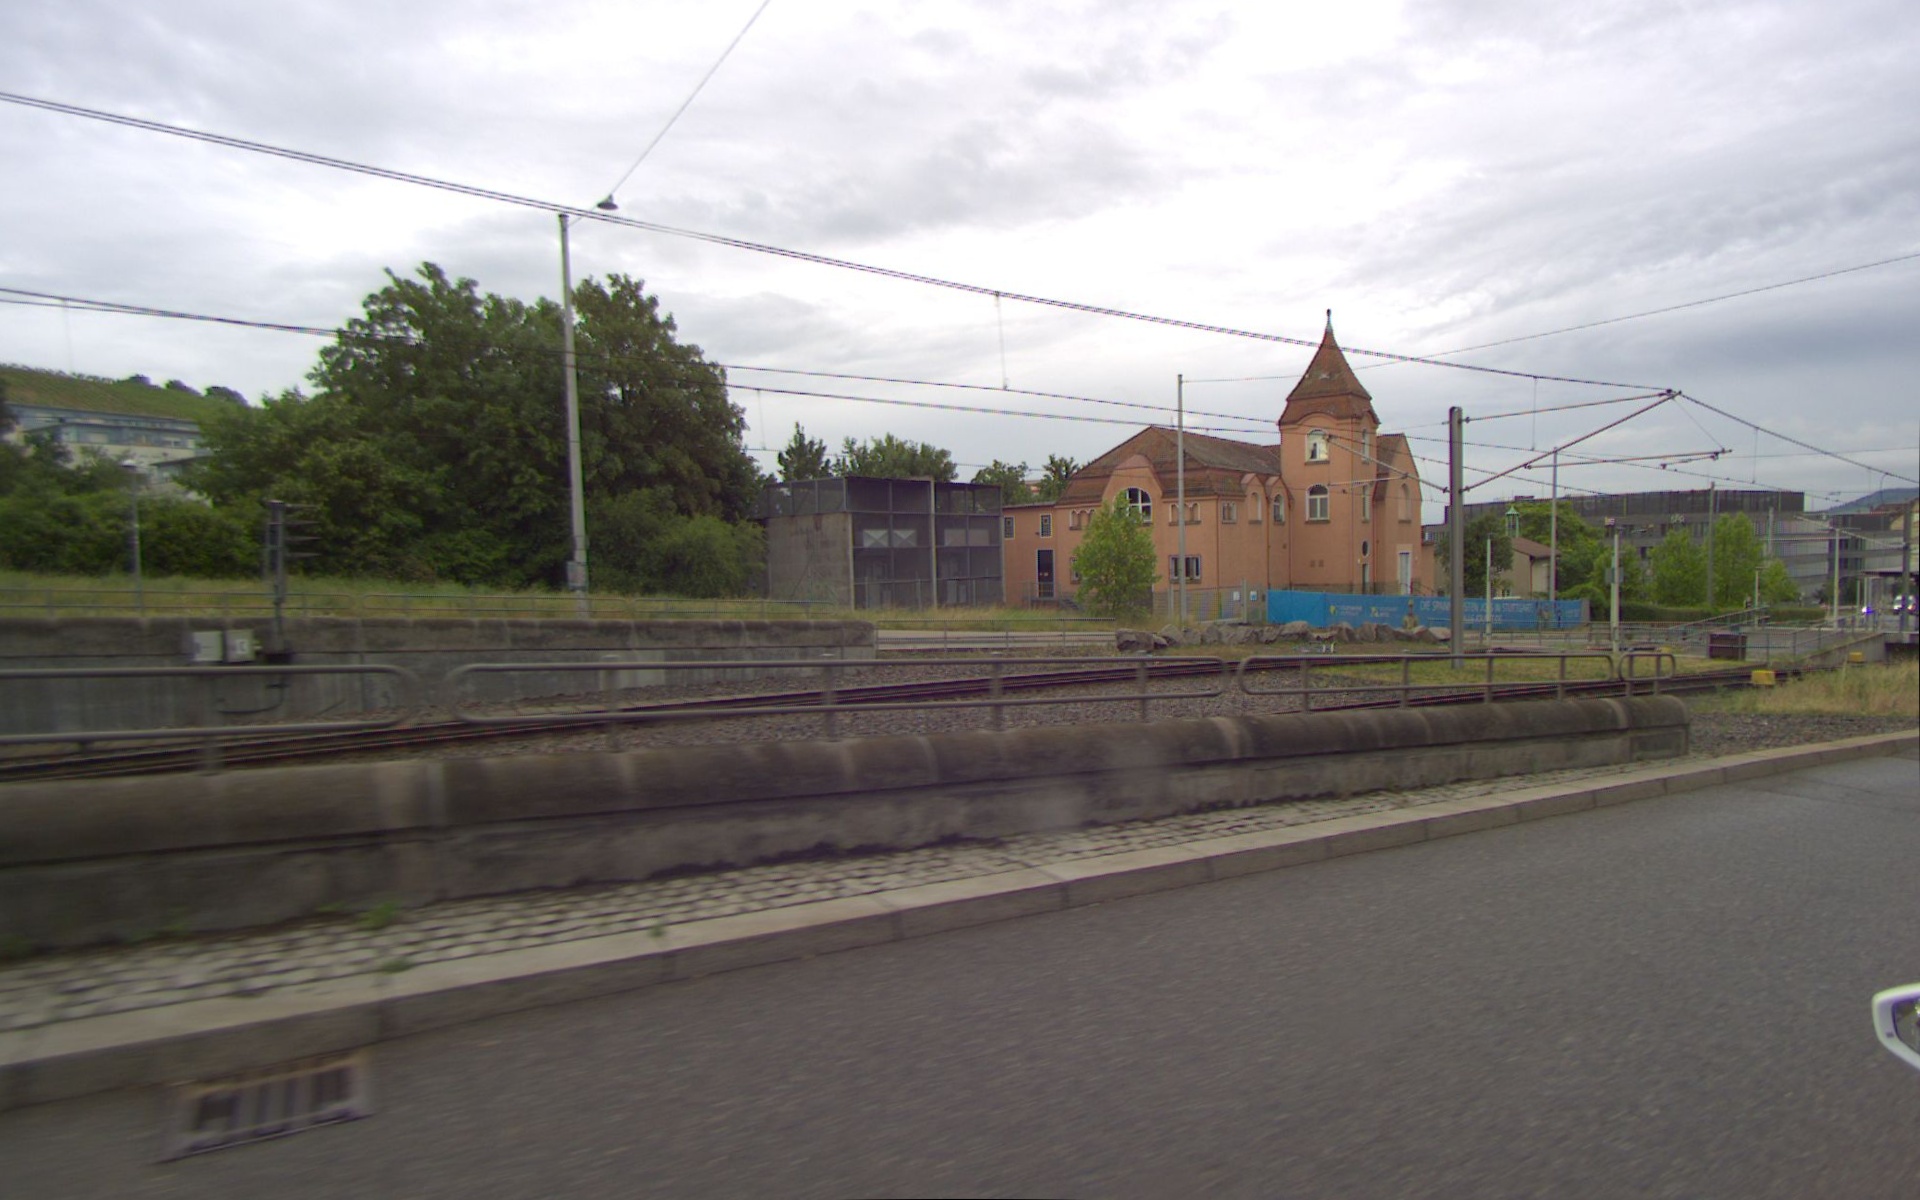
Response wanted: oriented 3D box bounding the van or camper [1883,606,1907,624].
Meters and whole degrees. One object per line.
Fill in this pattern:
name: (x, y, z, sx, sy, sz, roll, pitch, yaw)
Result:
van or camper: (127.696, 2.083, 137.203, 3.967, 2.376, 1.977, 1, -2, -40)
